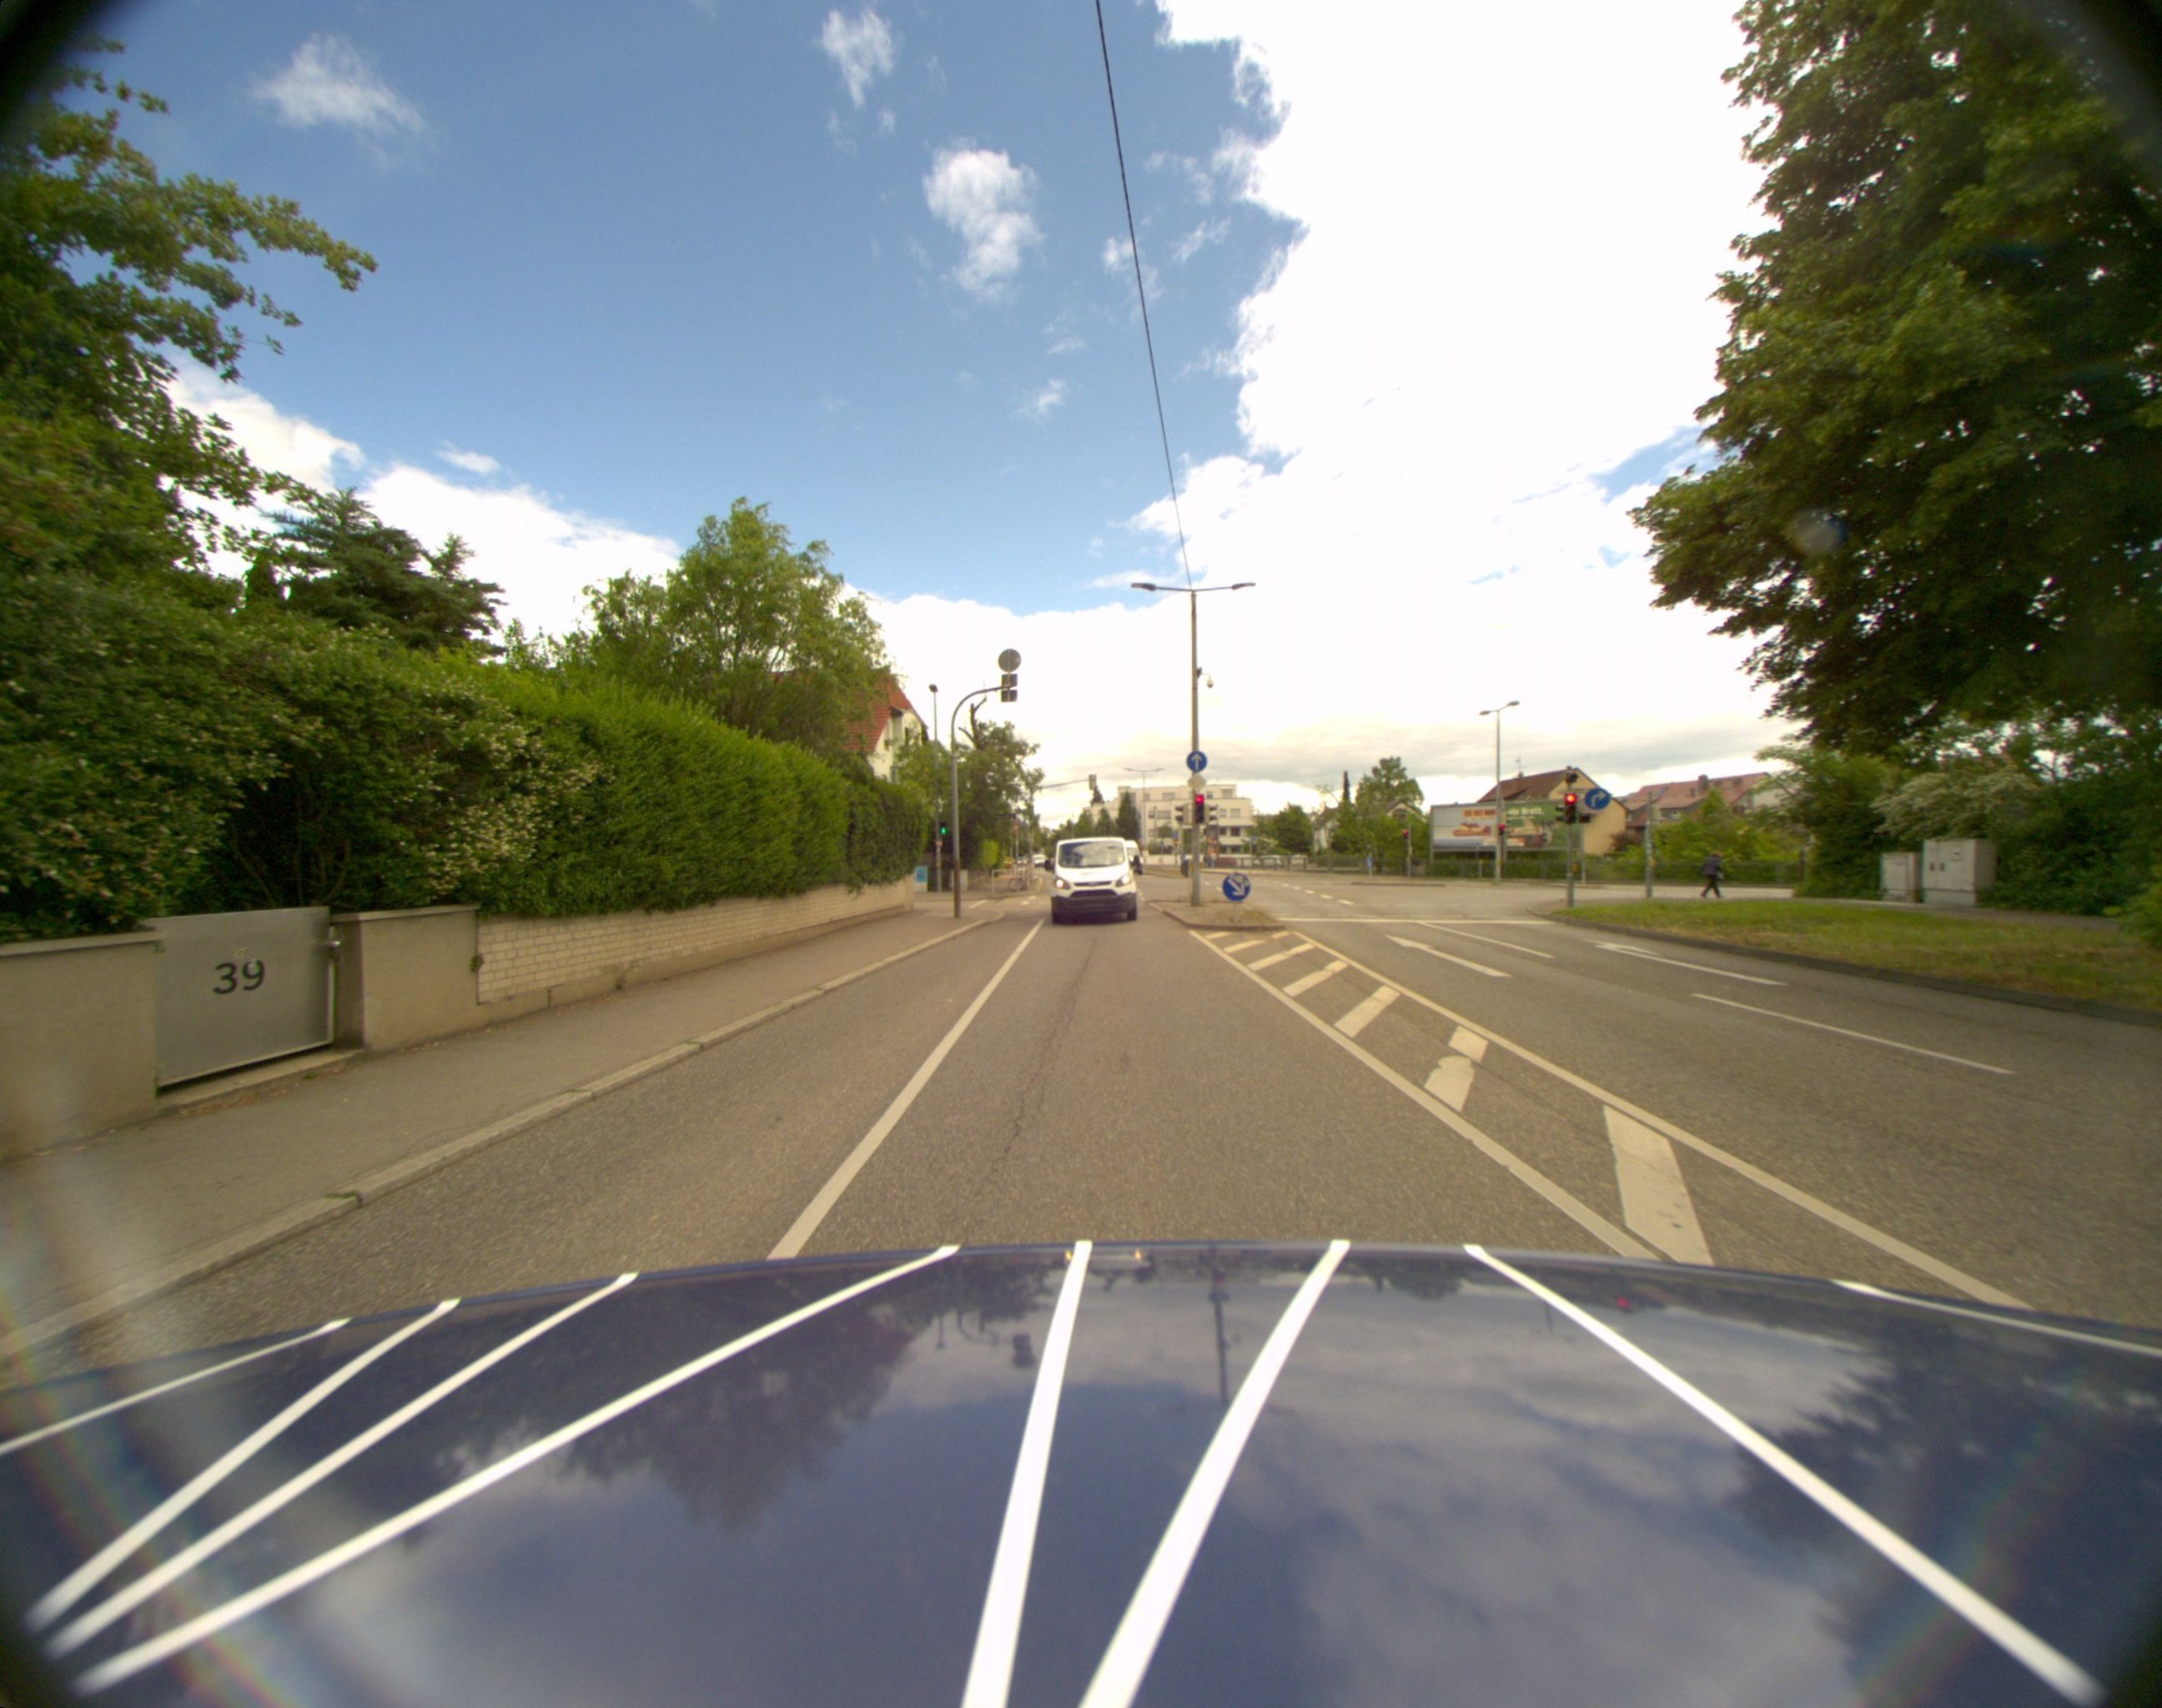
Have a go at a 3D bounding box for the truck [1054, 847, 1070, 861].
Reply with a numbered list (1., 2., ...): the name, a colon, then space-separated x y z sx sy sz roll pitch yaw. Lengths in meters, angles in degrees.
1. truck: -3.366 -0.033 134.011 2.132 2.251 6.800 0 0 -8

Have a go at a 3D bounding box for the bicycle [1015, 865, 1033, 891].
1. bicycle: -2.362 1.000 31.539 0.629 1.022 1.504 -1 0 0

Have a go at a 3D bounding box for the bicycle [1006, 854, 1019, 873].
1. bicycle: -5.754 0.793 64.298 0.894 1.501 2.782 4 0 -3

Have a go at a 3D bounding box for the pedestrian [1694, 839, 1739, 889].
1. pedestrian: 18.740 0.294 22.403 0.776 1.400 0.599 -2 4 -9

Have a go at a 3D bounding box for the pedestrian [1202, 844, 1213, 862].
1. pedestrian: 11.979 -0.086 72.135 0.658 1.624 1.069 -2 1 -14

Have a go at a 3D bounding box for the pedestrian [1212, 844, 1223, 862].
1. pedestrian: 12.974 -0.085 72.295 0.658 1.624 0.832 -2 1 -14

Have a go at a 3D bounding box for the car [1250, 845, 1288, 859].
1. car: 22.829 -0.211 92.444 4.117 1.526 1.651 2 0 37

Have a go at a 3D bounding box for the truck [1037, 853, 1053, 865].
1. truck: -5.284 0.732 109.865 1.617 1.780 3.995 1 0 -13

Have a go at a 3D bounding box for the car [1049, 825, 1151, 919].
1. car: 0.299 0.388 19.085 2.076 1.956 5.555 -2 0 -3

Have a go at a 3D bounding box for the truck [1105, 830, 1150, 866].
1. truck: 3.502 -0.432 58.194 2.038 2.555 6.051 1 0 -10
